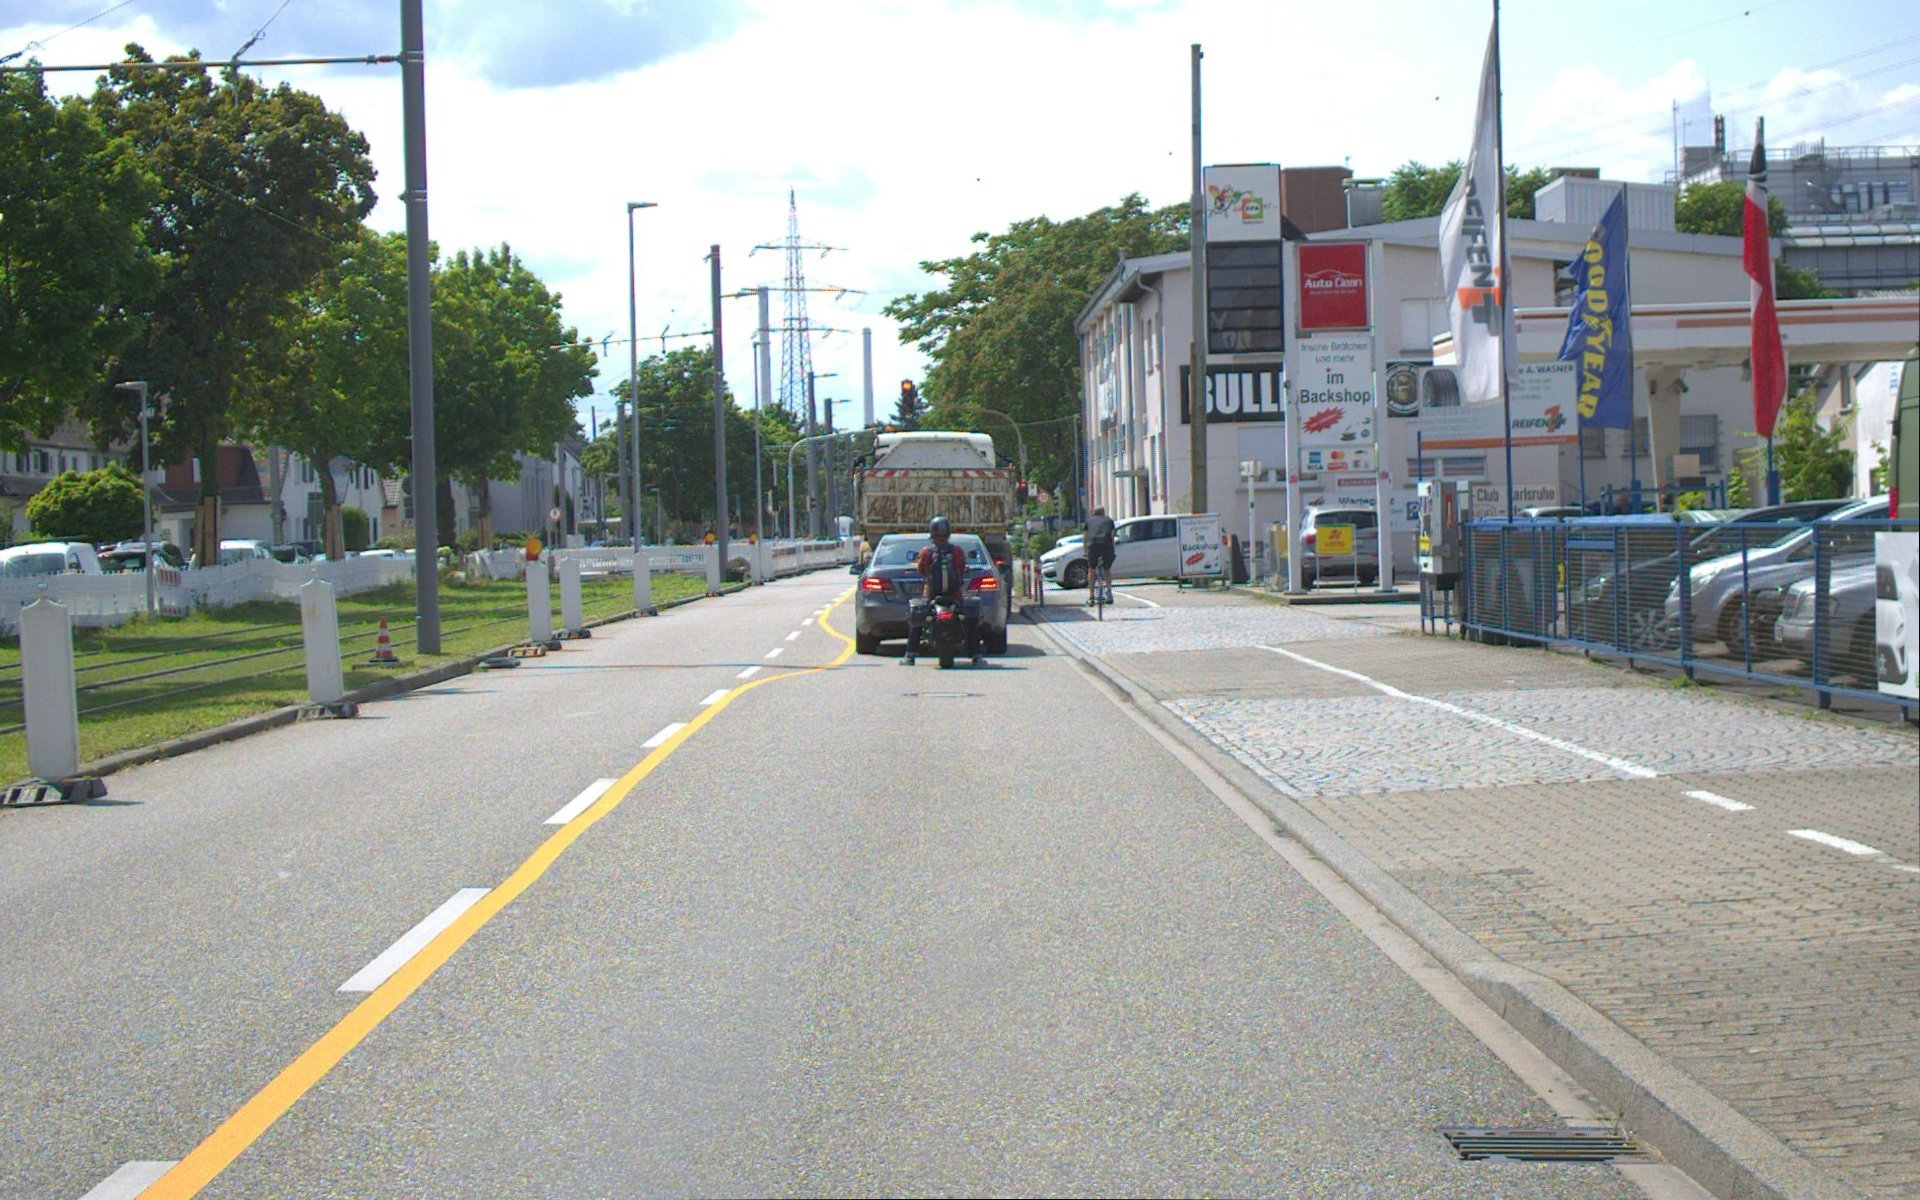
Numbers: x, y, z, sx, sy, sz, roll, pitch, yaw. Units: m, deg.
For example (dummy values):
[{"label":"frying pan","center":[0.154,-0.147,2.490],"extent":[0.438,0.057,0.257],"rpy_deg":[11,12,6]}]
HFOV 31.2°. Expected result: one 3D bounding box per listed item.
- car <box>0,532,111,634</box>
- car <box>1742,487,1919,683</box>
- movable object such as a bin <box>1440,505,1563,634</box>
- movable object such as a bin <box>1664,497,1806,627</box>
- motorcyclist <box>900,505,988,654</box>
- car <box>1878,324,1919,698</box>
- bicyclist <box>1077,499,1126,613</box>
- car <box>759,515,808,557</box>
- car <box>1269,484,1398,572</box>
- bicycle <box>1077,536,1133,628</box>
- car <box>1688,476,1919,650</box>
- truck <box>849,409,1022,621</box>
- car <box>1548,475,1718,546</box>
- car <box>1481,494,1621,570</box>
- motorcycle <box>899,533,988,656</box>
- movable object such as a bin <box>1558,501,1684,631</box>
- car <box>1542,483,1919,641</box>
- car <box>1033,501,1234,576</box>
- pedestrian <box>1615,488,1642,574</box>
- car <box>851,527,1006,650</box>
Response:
[{"label":"car","center":[-16.939,-0.307,62.476],"extent":[1.993,1.744,4.000],"rpy_deg":[-2,1,0]},{"label":"car","center":[8.228,-0.173,26.286],"extent":[4.184,1.426,1.820],"rpy_deg":[-2,1,7]},{"label":"movable object such as a bin","center":[6.306,-0.357,40.104],"extent":[1.256,1.439,0.824],"rpy_deg":[-2,1,0]},{"label":"movable object such as a bin","center":[9.010,-0.441,40.012],"extent":[1.320,1.439,0.955],"rpy_deg":[-2,1,-7]},{"label":"motorcyclist","center":[-0.178,-0.231,38.037],"extent":[0.939,1.609,1.205],"rpy_deg":[1,1,0]},{"label":"car","center":[8.841,-0.669,23.458],"extent":[4.537,2.564,2.151],"rpy_deg":[-2,1,2]},{"label":"bicyclist","center":[2.193,-0.688,53.173],"extent":[0.671,1.738,0.813],"rpy_deg":[-2,1,-1]},{"label":"car","center":[-6.370,-2.337,124.546],"extent":[1.654,1.442,4.304],"rpy_deg":[-2,2,-2]},{"label":"car","center":[7.503,-1.444,69.452],"extent":[1.959,1.643,4.000],"rpy_deg":[-2,1,-2]},{"label":"bicycle","center":[2.238,-0.302,53.326],"extent":[0.693,1.357,2.419],"rpy_deg":[-2,1,-1]},{"label":"car","center":[8.687,-0.370,31.106],"extent":[3.990,1.491,1.749],"rpy_deg":[-2,1,15]},{"label":"truck","center":[-0.361,-1.537,59.008],"extent":[2.610,3.244,9.183],"rpy_deg":[-2,2,0]},{"label":"car","center":[17.554,-2.328,89.781],"extent":[3.987,1.643,1.966],"rpy_deg":[-2,1,-1]},{"label":"car","center":[12.018,-1.376,70.158],"extent":[1.959,1.415,4.000],"rpy_deg":[-2,1,-2]},{"label":"motorcycle","center":[-0.183,-0.082,38.221],"extent":[0.939,1.316,2.645],"rpy_deg":[1,1,0]},{"label":"movable object such as a bin","center":[7.683,-0.398,39.990],"extent":[1.256,1.439,0.824],"rpy_deg":[-2,1,0]},{"label":"car","center":[7.894,-0.381,33.998],"extent":[3.990,1.438,1.709],"rpy_deg":[-1,1,17]},{"label":"car","center":[4.026,-1.422,80.135],"extent":[4.329,1.546,1.950],"rpy_deg":[-2,1,-8]},{"label":"pedestrian","center":[13.264,-1.364,68.226],"extent":[0.396,1.683,0.485],"rpy_deg":[-2,1,1]},{"label":"car","center":[-0.382,-0.175,42.696],"extent":[1.821,1.419,4.000],"rpy_deg":[-1,1,0]}]
